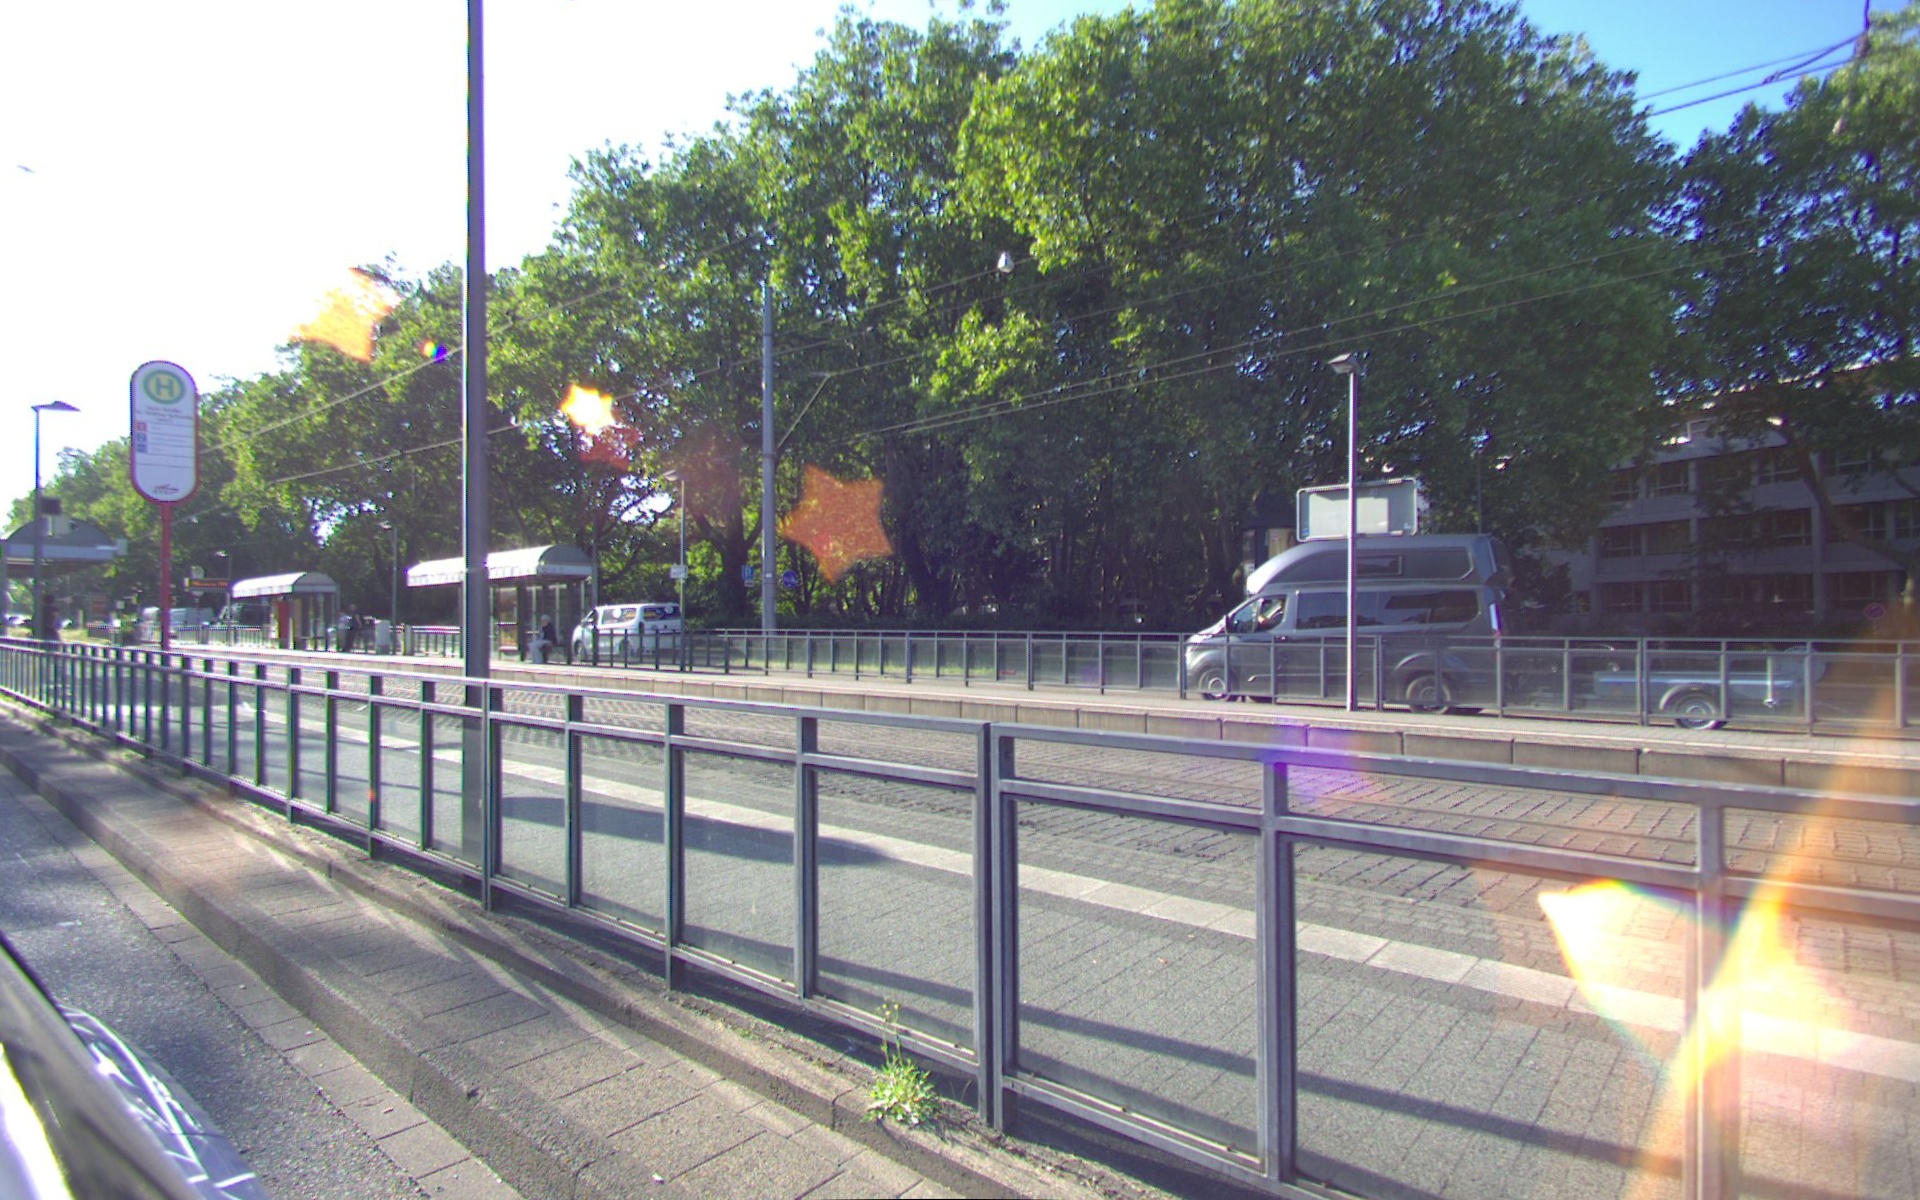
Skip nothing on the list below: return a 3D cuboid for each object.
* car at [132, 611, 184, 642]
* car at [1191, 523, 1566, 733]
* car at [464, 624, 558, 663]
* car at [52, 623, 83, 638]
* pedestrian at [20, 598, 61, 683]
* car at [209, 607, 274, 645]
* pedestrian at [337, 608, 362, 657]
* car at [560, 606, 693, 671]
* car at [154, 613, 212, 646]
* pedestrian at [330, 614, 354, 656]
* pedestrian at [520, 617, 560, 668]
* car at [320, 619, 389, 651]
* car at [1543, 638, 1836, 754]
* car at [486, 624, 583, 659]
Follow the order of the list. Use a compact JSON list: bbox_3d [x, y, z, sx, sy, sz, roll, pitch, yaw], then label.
[{"bbox_3d":[-68.153,2.269,85.961,6.045,2.540,2.161,-1,-3,40],"label":"car"},{"bbox_3d":[6.359,0.366,15.761,5.027,2.763,2.046,0,0,40],"label":"car"},{"bbox_3d":[-18.539,1.768,41.739,4.338,1.522,1.776,-1,-3,40],"label":"car"},{"bbox_3d":[-95.888,3.255,108.665,4.320,1.448,1.808,0,-3,40],"label":"car"},{"bbox_3d":[-18.682,0.812,20.559,0.588,1.690,0.590,0,-1,-44],"label":"pedestrian"},{"bbox_3d":[-50.551,1.811,71.164,6.027,2.540,2.161,-1,-3,40],"label":"car"},{"bbox_3d":[-22.858,1.216,37.906,0.650,1.785,0.641,0,0,44],"label":"pedestrian"},{"bbox_3d":[-11.829,1.311,35.706,5.086,2.140,2.046,-1,-3,40],"label":"car"},{"bbox_3d":[-62.150,2.338,80.932,6.264,2.540,2.162,0,-3,38],"label":"car"},{"bbox_3d":[-23.464,1.335,38.423,0.626,1.555,0.586,0,0,42],"label":"pedestrian"},{"bbox_3d":[-11.238,1.131,27.077,0.756,1.335,0.663,-1,-4,40],"label":"pedestrian"},{"bbox_3d":[-32.598,1.888,54.488,3.968,1.664,1.884,0,-3,38],"label":"car"},{"bbox_3d":[9.431,1.149,13.160,2.910,1.171,2.046,0,0,40],"label":"car"},{"bbox_3d":[-16.979,1.637,40.288,4.312,1.302,1.752,-1,-3,40],"label":"car"}]
